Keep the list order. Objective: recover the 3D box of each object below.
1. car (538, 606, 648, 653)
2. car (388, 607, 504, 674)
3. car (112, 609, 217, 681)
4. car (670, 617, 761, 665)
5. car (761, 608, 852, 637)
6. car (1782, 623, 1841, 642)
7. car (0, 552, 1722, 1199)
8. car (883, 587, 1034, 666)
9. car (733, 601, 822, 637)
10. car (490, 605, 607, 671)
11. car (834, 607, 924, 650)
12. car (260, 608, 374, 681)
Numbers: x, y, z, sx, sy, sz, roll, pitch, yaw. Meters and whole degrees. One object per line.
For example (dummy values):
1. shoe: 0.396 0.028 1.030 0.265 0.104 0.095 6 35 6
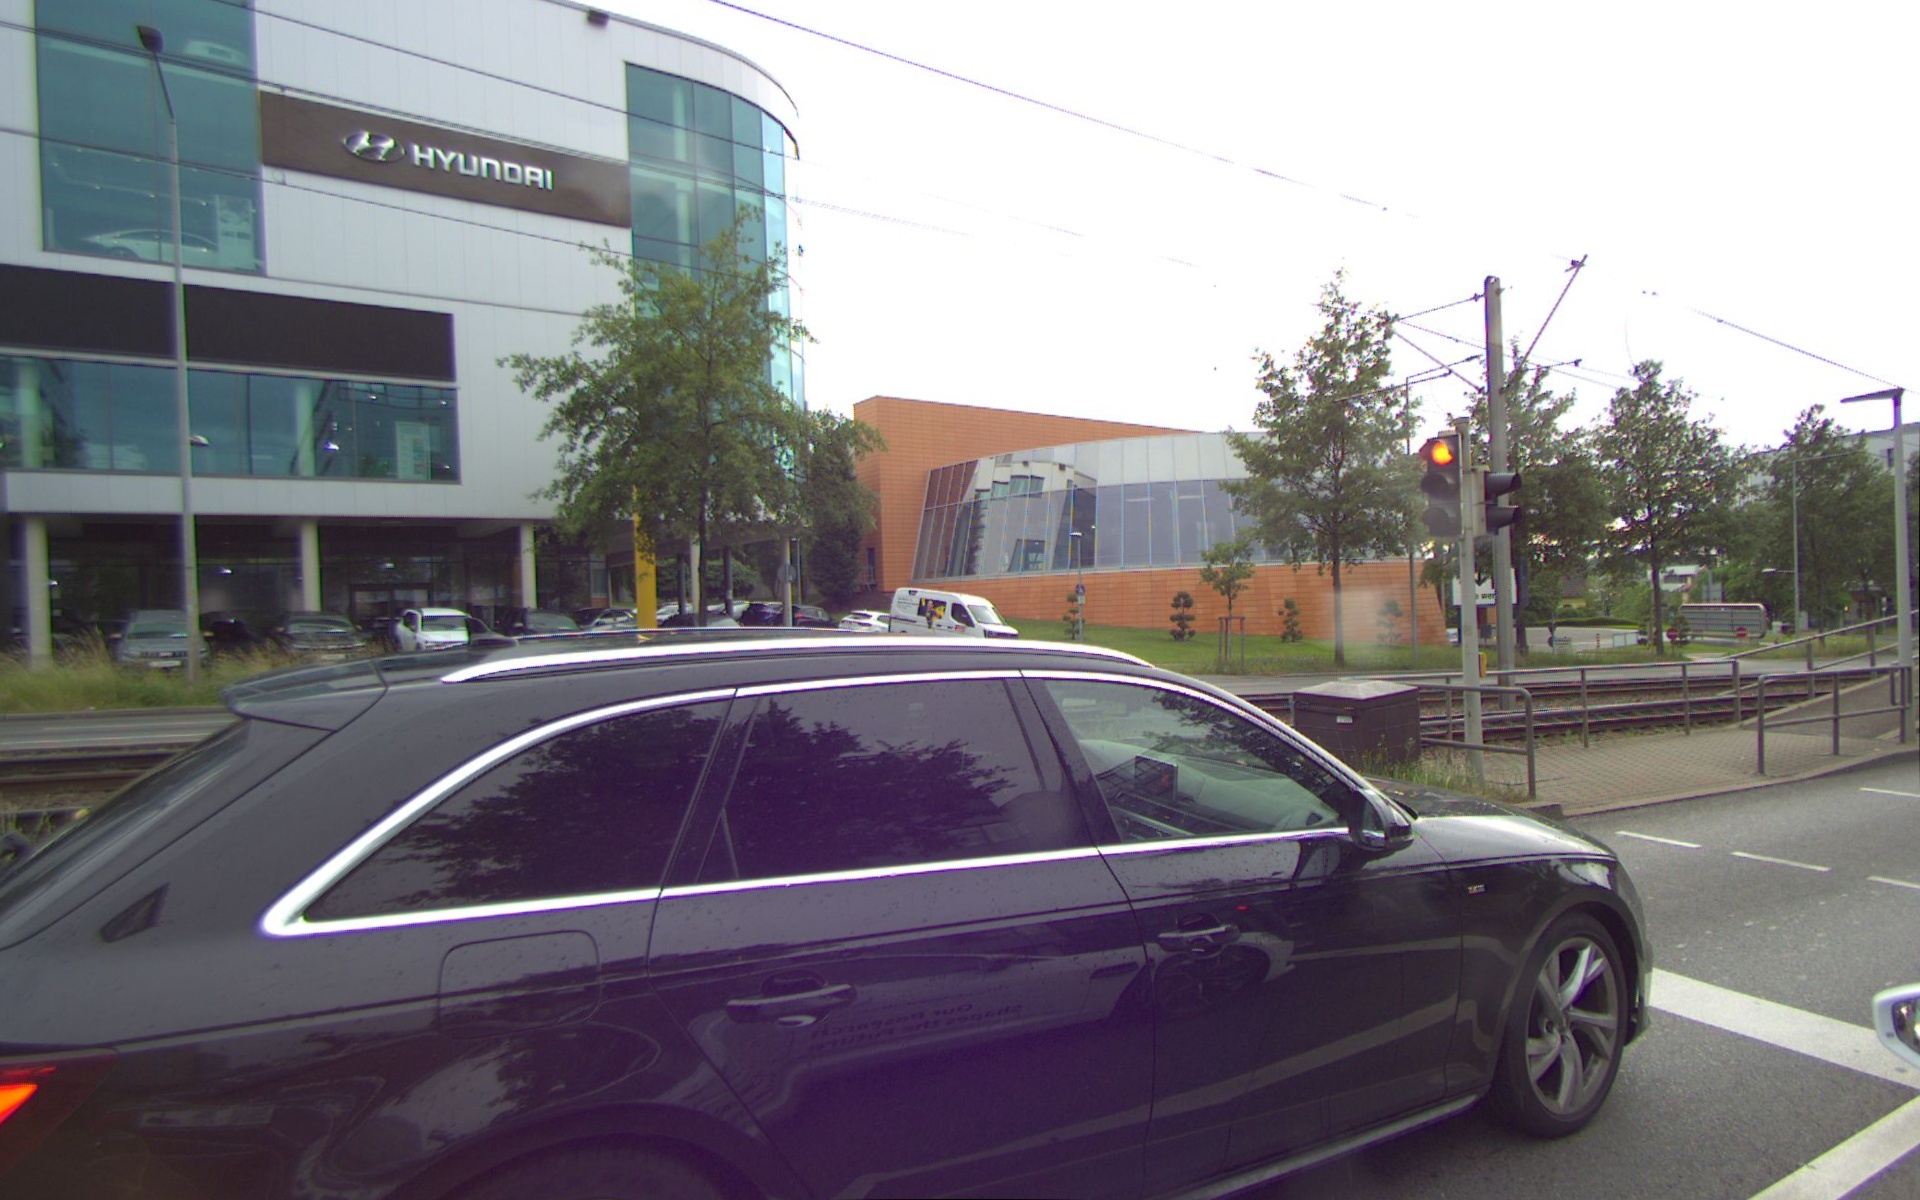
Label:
1. car: -12.838 1.011 35.342 1.691 1.572 3.587 0 -1 20
2. car: -14.504 1.074 28.248 1.984 1.571 4.324 1 1 -40
3. car: -19.871 1.058 25.066 1.917 1.479 3.974 1 1 -40
4. car: -7.786 1.251 31.779 1.565 1.409 3.619 0 -1 -36
5. car: -7.224 1.063 47.516 1.969 1.297 3.982 0 -1 39
6. car: 66.452 2.507 78.415 1.408 1.405 3.371 0 0 -13
7. car: 0.118 0.723 2.894 4.461 1.486 1.772 1 -1 -31
8. car: -0.125 0.915 38.112 5.544 2.616 2.392 3 1 43
9. car: -8.874 0.909 49.081 1.969 1.653 3.982 0 -1 39
10. car: -12.287 1.077 29.865 1.984 1.637 4.324 1 1 -40
11. car: -3.345 1.162 42.162 1.703 1.688 3.734 1 -1 38
12. car: -16.962 1.105 26.392 1.984 1.571 4.324 1 1 -40
